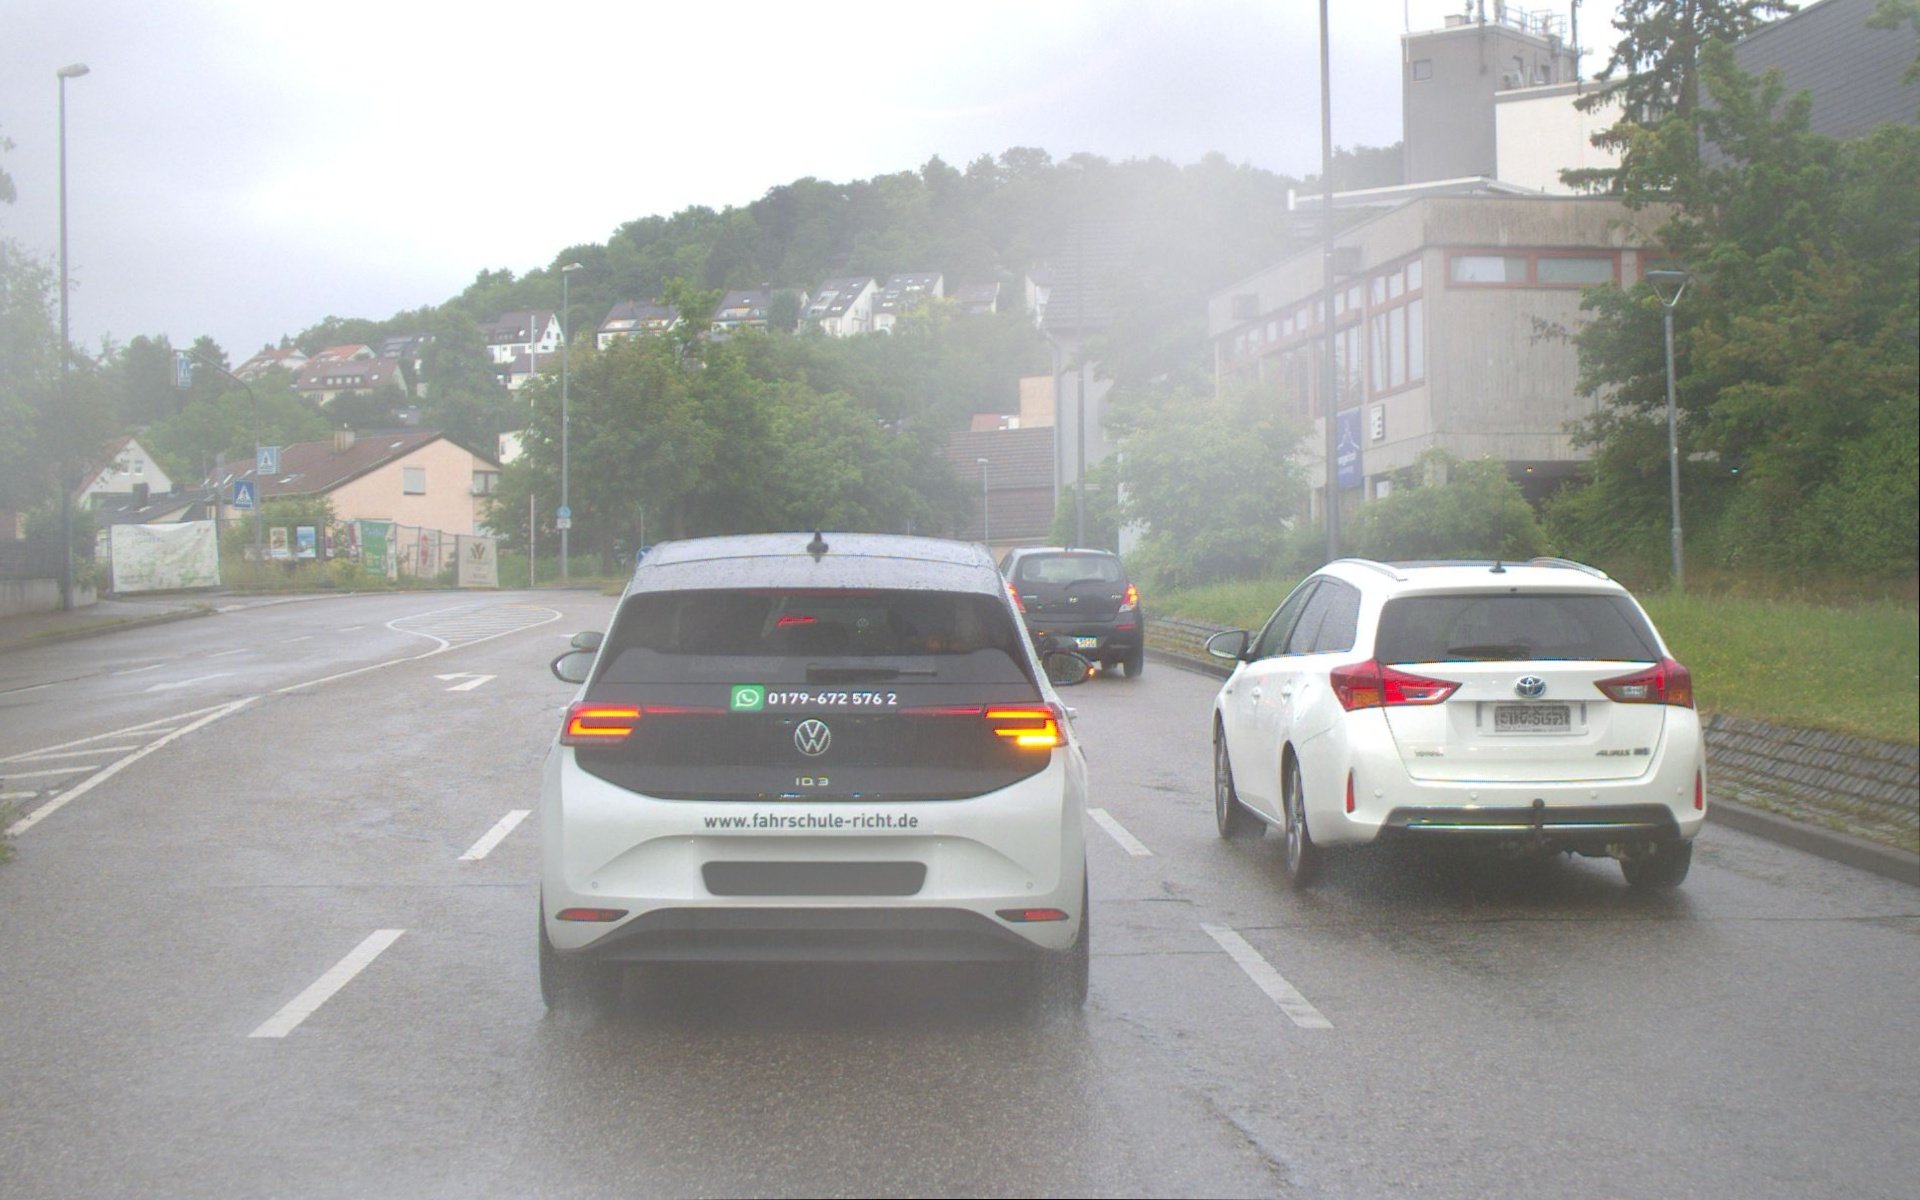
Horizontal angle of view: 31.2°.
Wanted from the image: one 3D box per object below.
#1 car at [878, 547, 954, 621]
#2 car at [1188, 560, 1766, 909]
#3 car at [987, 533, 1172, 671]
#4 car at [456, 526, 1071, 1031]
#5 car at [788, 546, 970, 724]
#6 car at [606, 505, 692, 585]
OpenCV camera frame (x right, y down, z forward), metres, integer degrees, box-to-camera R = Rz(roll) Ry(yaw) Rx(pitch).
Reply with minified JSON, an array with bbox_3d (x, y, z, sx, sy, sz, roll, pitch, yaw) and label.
[{"bbox_3d":[-1.210,-0.430,96.471,1.993,2.007,4.000,1,0,1],"label":"car"},{"bbox_3d":[2.237,0.546,16.062,1.848,1.405,4.302,0,0,-3],"label":"car"},{"bbox_3d":[1.351,0.026,39.982,1.993,1.448,3.771,-2,0,1],"label":"car"},{"bbox_3d":[-0.560,0.531,12.337,1.828,1.495,4.168,0,0,1],"label":"car"},{"bbox_3d":[-0.760,0.274,31.648,1.567,1.525,4.000,0,1,-2],"label":"car"},{"bbox_3d":[-8.285,-1.446,91.909,1.993,2.007,4.000,1,0,-1],"label":"car"}]
